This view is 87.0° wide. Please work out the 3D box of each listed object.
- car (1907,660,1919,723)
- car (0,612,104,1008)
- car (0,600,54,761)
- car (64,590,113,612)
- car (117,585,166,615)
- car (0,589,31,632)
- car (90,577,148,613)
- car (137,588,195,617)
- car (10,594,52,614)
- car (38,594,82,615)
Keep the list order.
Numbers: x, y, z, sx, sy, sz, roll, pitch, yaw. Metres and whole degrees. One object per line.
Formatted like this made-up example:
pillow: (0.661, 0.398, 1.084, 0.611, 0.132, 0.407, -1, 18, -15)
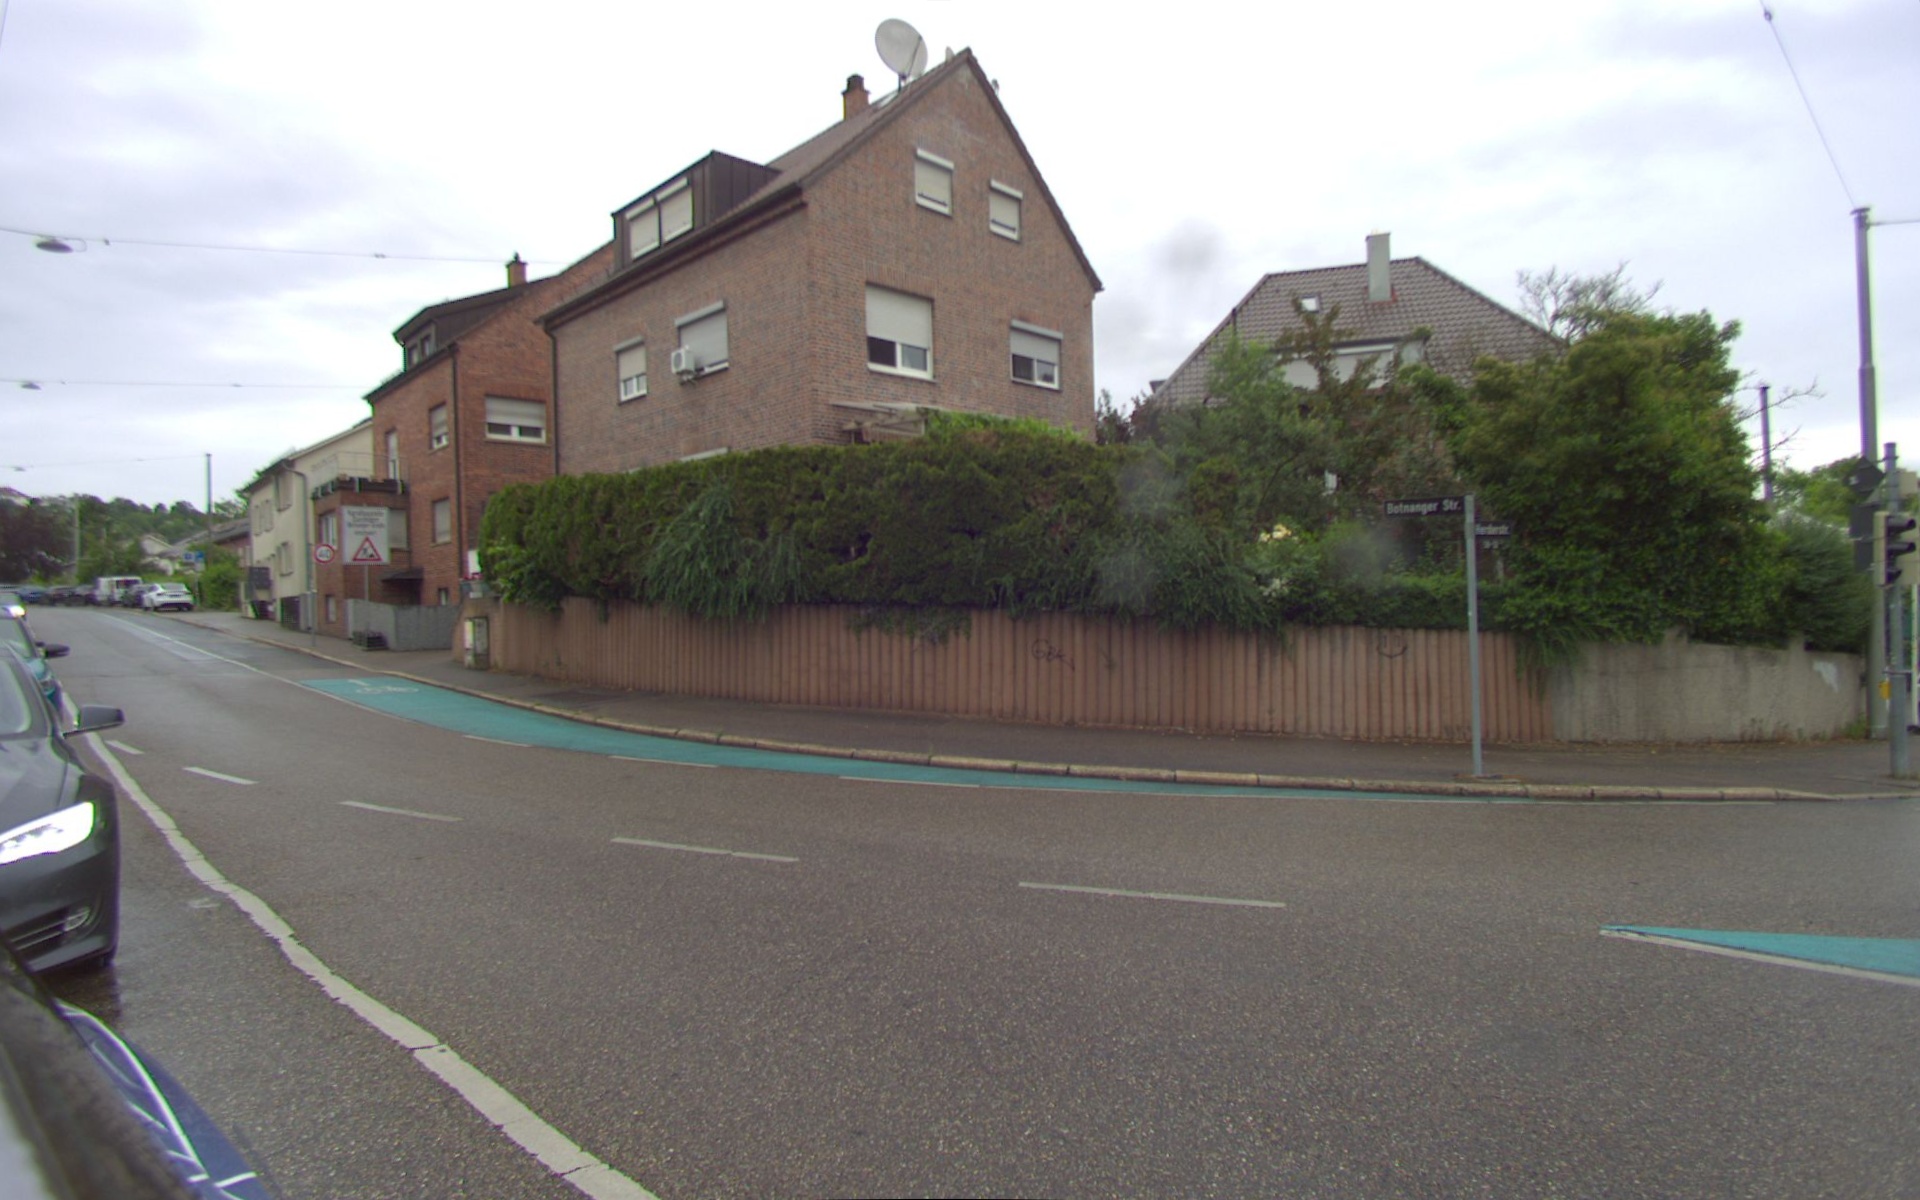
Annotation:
car: (25.779, 2.284, 24.656, 1.837, 1.644, 4.297, -1, -3, 11)
car: (-5.404, 0.795, 4.702, 4.002, 1.426, 1.845, 0, 0, 45)
car: (-11.211, 0.805, 11.045, 3.785, 1.601, 1.765, 0, 0, 45)
car: (-61.571, 0.074, 71.456, 4.002, 1.501, 1.636, -1, 2, 34)
car: (-52.373, -0.021, 64.726, 4.262, 1.817, 1.791, 0, 2, 42)
car: (-40.778, 0.480, 42.928, 4.001, 1.744, 1.792, -3, -2, 44)
car: (-57.020, -0.332, 68.584, 4.544, 2.303, 2.229, 0, 2, 41)
car: (-46.425, 0.151, 59.133, 4.262, 1.577, 1.921, 0, 2, 42)
car: (-71.083, 0.315, 77.443, 3.895, 1.501, 1.605, -1, 2, 36)
car: (-66.539, 0.338, 74.812, 3.854, 1.407, 1.634, -1, 2, 36)
